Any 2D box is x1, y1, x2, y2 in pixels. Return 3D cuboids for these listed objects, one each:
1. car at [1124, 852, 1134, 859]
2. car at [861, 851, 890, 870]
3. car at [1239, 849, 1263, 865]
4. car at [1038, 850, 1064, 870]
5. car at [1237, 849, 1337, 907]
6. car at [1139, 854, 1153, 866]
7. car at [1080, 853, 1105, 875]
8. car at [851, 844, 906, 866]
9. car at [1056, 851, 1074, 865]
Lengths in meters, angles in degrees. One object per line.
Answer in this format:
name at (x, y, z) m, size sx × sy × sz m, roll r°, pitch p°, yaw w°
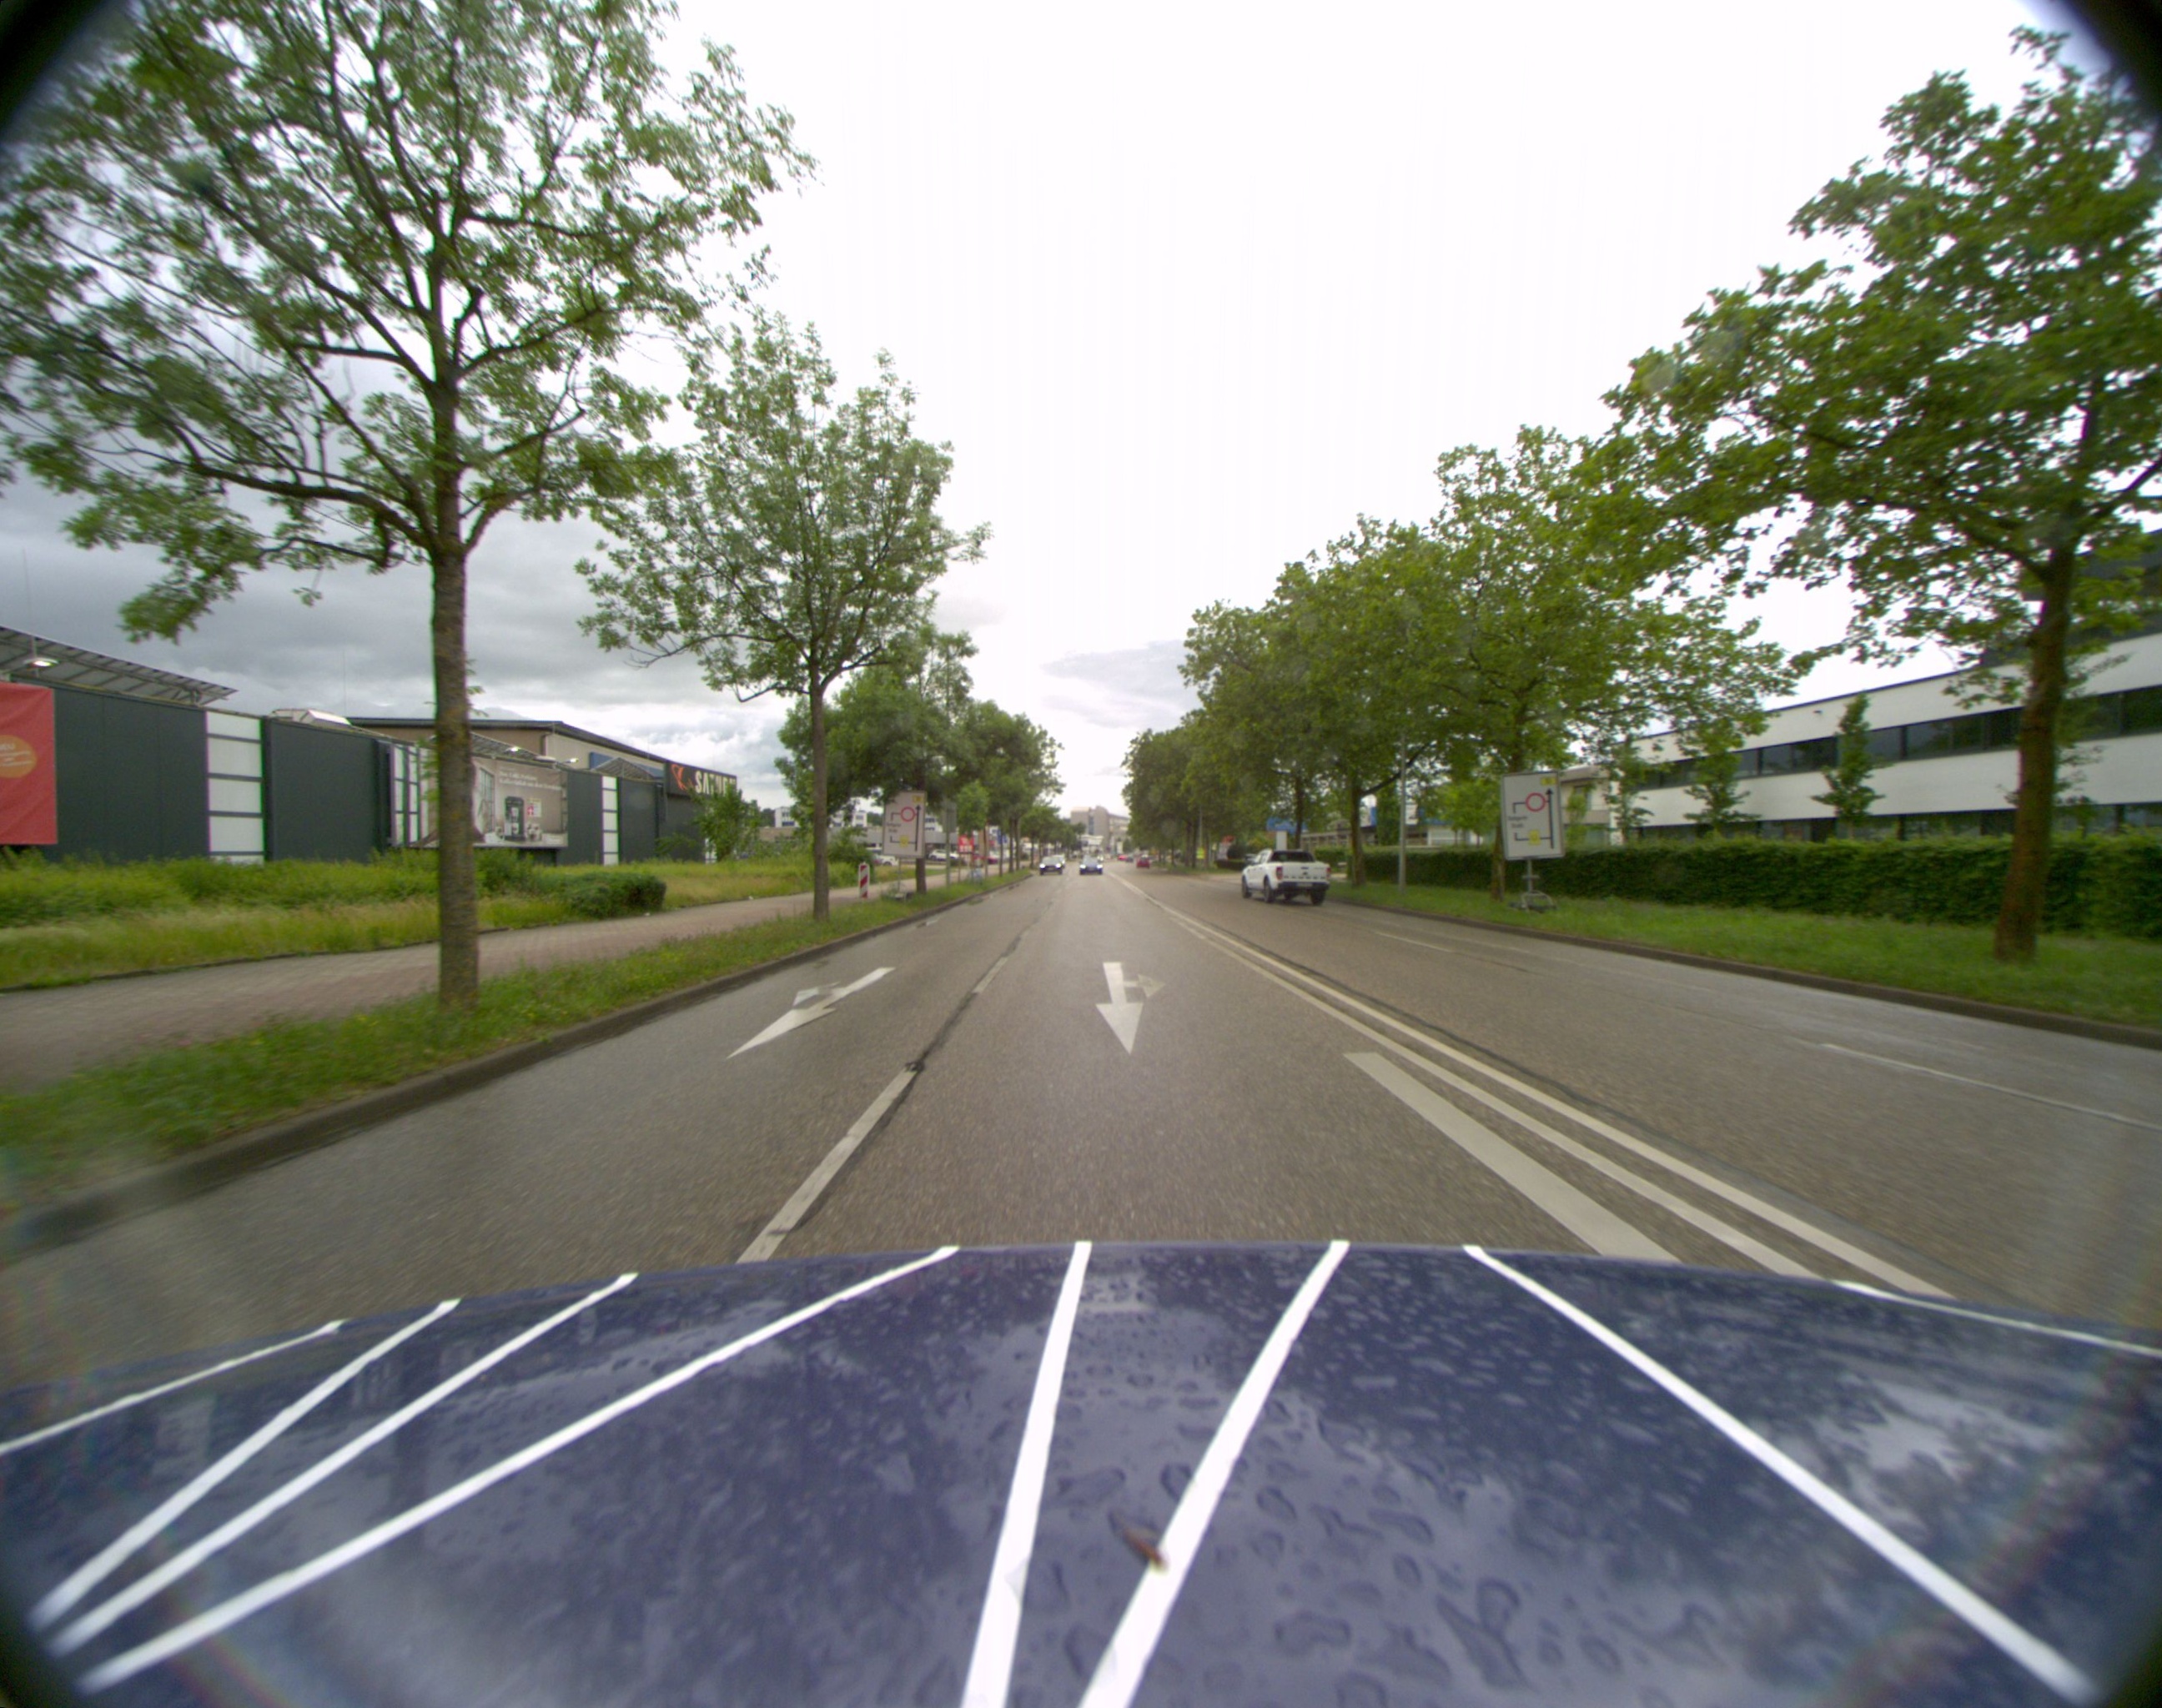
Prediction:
car at (10.667, 0.366, 170.402) m, size 1.998 × 1.632 × 4.360 m, roll 0°, pitch 0°, yaw 1°
car at (-16.404, 0.512, 60.750) m, size 1.755 × 1.405 × 4.133 m, roll 1°, pitch 0°, yaw -9°
car at (18.185, 0.314, 81.562) m, size 1.746 × 1.525 × 4.000 m, roll 2°, pitch 1°, yaw 2°
car at (-2.578, 0.485, 66.249) m, size 1.998 × 1.632 × 4.360 m, roll -2°, pitch 1°, yaw 1°
car at (7.002, 0.753, 26.419) m, size 1.916 × 1.795 × 5.340 m, roll 1°, pitch 0°, yaw -1°
car at (8.651, 0.790, 101.456) m, size 1.745 × 1.525 × 4.001 m, roll 2°, pitch 1°, yaw 4°
car at (0.948, 0.828, 62.713) m, size 1.998 × 1.632 × 4.360 m, roll -2°, pitch 1°, yaw 1°
car at (-19.398, 0.128, 72.859) m, size 4.966 × 2.002 × 1.998 m, roll 1°, pitch 1°, yaw -11°
car at (-1.910, 0.455, 92.334) m, size 1.998 × 1.632 × 4.360 m, roll -2°, pitch 1°, yaw 1°
